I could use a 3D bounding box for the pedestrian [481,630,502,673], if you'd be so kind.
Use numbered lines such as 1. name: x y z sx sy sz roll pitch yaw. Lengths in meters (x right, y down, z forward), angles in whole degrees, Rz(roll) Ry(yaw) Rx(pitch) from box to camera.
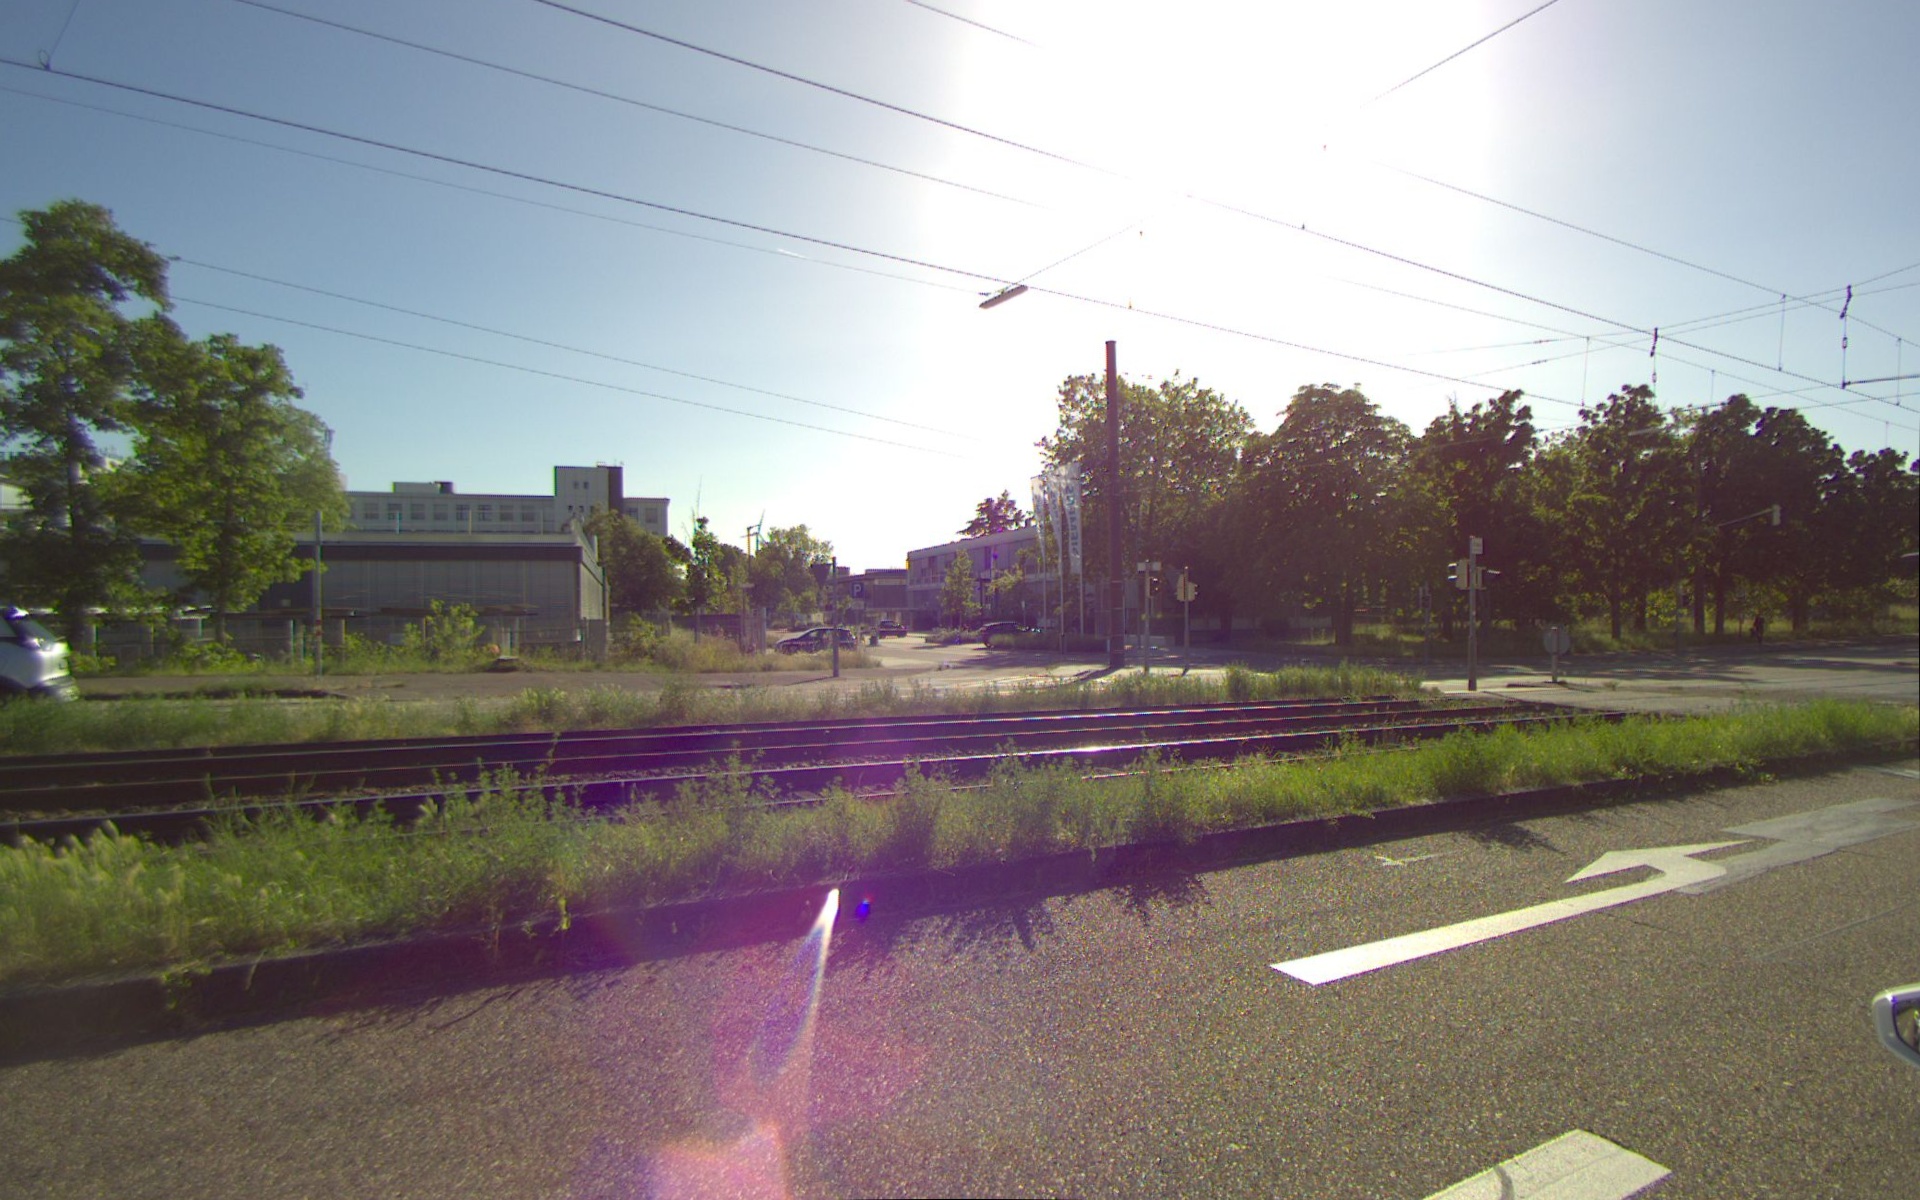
1. pedestrian: -14.661 1.609 31.443 0.432 1.318 0.441 0 0 18

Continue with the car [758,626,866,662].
1. car: -7.674 2.257 51.916 5.210 1.772 2.164 1 0 -19

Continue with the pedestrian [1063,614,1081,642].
1. pedestrian: 7.110 1.770 63.907 0.807 1.811 0.950 0 0 -16

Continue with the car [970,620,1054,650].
1. car: 3.204 2.137 61.711 4.768 1.751 2.041 1 0 -21

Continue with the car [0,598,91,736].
1. car: -12.792 0.756 11.471 4.114 1.578 1.843 1 0 -35

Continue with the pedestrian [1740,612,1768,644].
1. pedestrian: 44.305 1.543 56.065 0.919 1.757 0.761 0 0 -2
